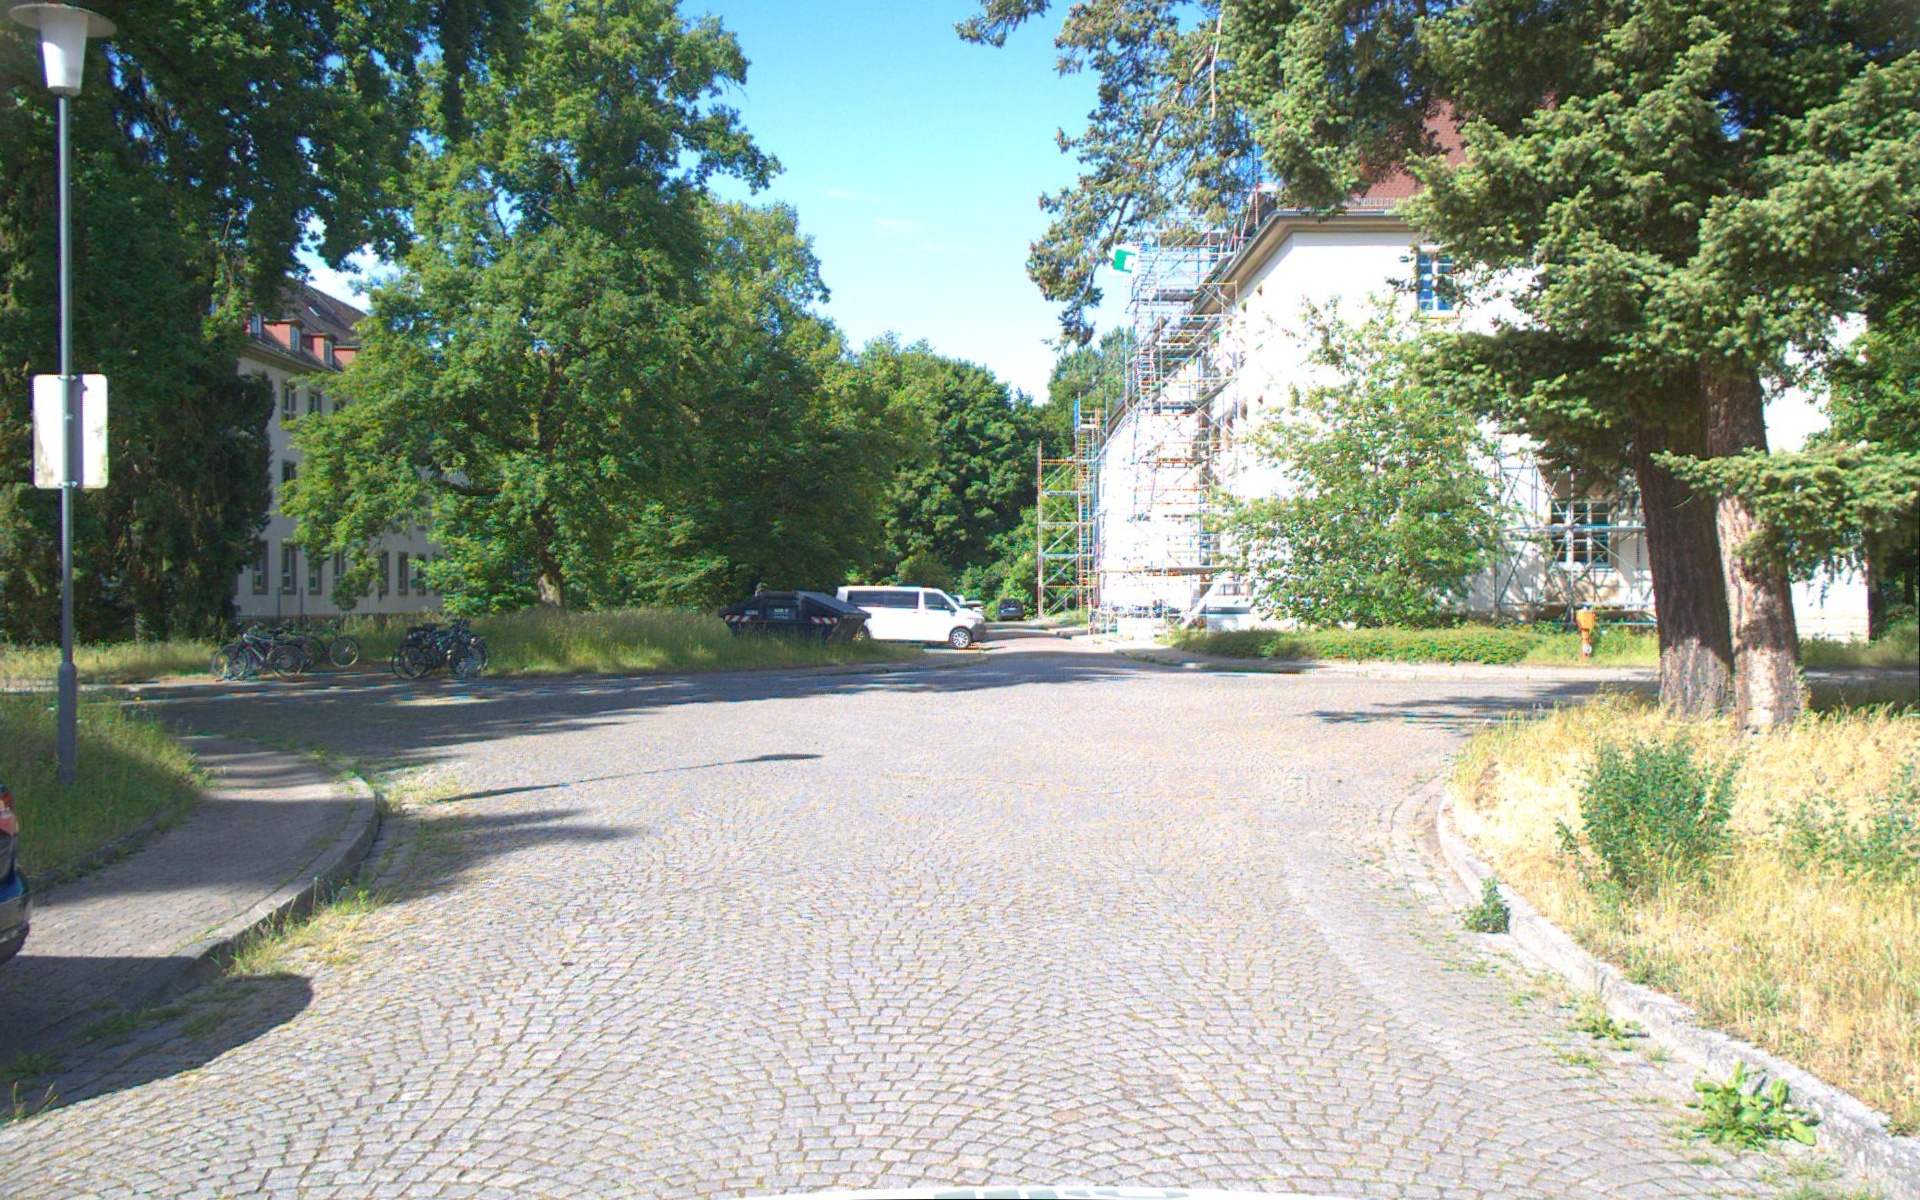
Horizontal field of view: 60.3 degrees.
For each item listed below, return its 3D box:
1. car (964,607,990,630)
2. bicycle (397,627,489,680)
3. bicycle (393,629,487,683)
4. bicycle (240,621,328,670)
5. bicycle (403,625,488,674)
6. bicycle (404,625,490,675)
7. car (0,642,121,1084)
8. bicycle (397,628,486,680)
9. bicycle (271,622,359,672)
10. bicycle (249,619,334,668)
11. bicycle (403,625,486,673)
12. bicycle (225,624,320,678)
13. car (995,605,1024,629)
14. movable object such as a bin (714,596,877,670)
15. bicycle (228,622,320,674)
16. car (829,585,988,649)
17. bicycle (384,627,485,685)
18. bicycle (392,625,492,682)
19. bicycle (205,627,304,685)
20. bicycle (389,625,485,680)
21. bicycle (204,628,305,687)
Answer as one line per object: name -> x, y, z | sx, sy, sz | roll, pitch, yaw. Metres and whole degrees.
car -> 1.221, 1.347, 120.343 | 1.775, 1.607, 4.134 | -1, 0, 0
bicycle -> -11.482, 1.181, 36.771 | 1.887, 1.076, 0.472 | -2, 0, -23
bicycle -> -11.302, 1.209, 35.982 | 1.887, 1.076, 0.472 | -2, 0, -23
bicycle -> -15.986, 1.067, 39.130 | 1.884, 1.122, 0.567 | 0, 1, -19
bicycle -> -12.385, 1.180, 39.813 | 1.886, 1.076, 0.473 | -2, 0, -21
bicycle -> -12.206, 1.174, 39.347 | 1.886, 1.076, 0.473 | -2, 0, -21
car -> -5.383, 0.892, 5.442 | 4.268, 1.470, 1.921 | 0, 0, 3
bicycle -> -11.782, 1.218, 37.582 | 1.886, 1.076, 0.473 | -2, 0, -21
bicycle -> -15.037, 1.087, 38.617 | 1.884, 1.122, 0.567 | 0, 1, -19
bicycle -> -16.190, 1.045, 40.074 | 1.887, 1.122, 0.566 | 0, 1, -24
bicycle -> -12.543, 1.184, 40.250 | 1.886, 1.076, 0.473 | -2, 0, -21
bicycle -> -15.048, 1.102, 36.233 | 1.891, 1.122, 0.565 | 0, 1, -28
car -> 3.576, 1.263, 120.649 | 1.931, 1.697, 4.085 | -1, 0, 0
movable object such as a bin -> -4.083, 0.820, 41.229 | 3.491, 1.775, 2.025 | -1, -1, 19
bicycle -> -15.566, 1.079, 37.531 | 1.891, 1.122, 0.565 | 0, 1, -28
car -> -1.659, 0.560, 54.334 | 5.127, 2.051, 1.950 | 0, -1, -1
bicycle -> -10.758, 1.130, 33.872 | 1.892, 1.076, 0.471 | -3, 0, -30
bicycle -> -10.772, 1.098, 34.428 | 1.892, 1.076, 0.471 | -3, 0, -30
bicycle -> -14.737, 1.160, 34.573 | 1.888, 1.122, 0.566 | -1, 1, -25
bicycle -> -11.200, 1.108, 35.418 | 1.887, 1.076, 0.472 | -2, 0, -23
bicycle -> -14.527, 1.175, 34.078 | 1.888, 1.122, 0.566 | -1, 1, -25
